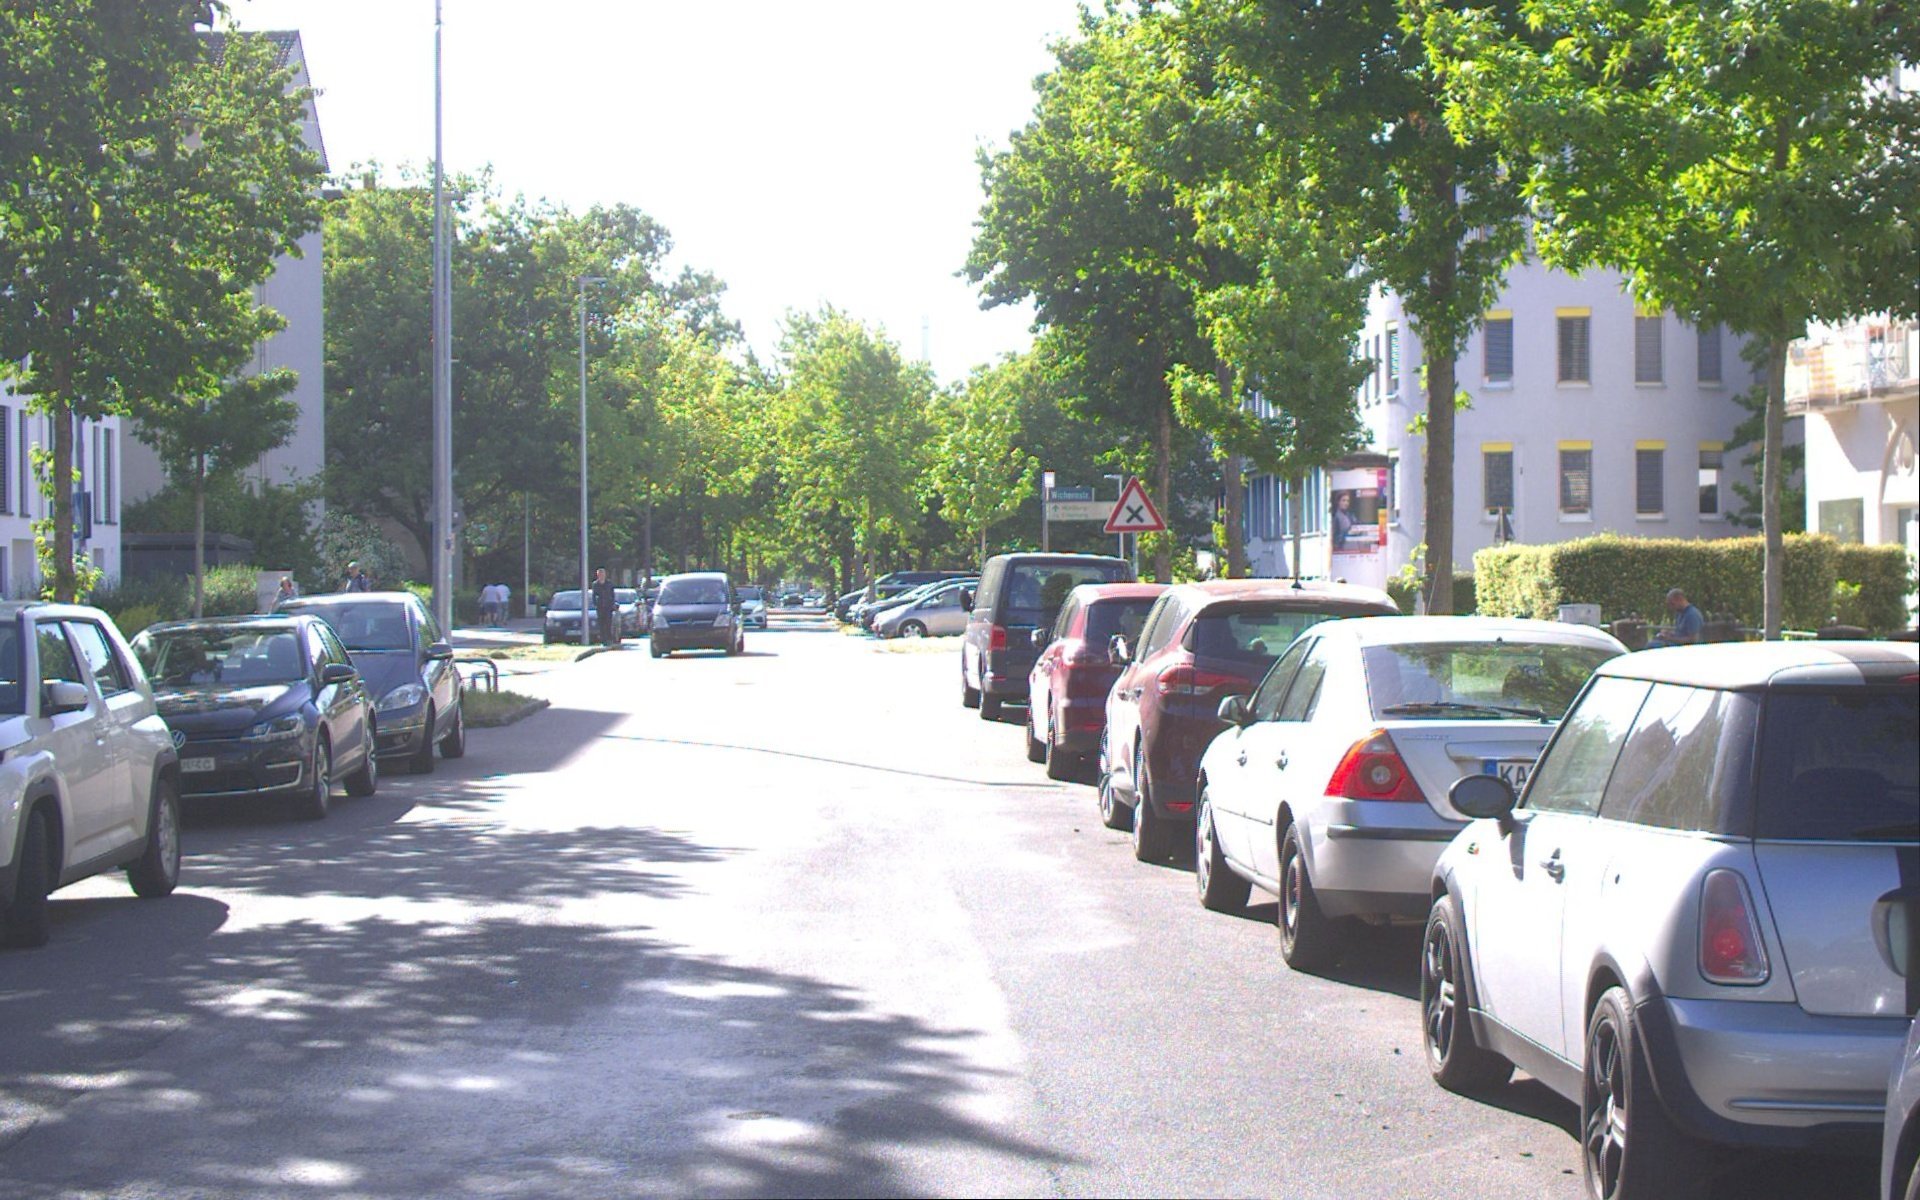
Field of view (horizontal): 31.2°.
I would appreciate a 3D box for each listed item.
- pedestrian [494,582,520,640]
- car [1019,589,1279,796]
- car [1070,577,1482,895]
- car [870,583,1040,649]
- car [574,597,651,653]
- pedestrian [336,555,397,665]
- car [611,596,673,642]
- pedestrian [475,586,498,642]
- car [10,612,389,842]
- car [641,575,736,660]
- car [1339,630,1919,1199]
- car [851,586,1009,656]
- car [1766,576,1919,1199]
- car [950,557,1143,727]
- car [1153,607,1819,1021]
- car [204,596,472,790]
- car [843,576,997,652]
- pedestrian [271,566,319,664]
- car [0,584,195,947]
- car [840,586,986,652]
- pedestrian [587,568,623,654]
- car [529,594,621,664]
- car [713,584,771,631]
[{"bbox_3d":[-15.819,0.386,120.086,0.859,2.007,0.981,0,0,-9],"label":"pedestrian"},{"bbox_3d":[1.551,0.735,29.613,1.834,1.595,4.158,2,0,-2],"label":"car"},{"bbox_3d":[1.836,0.754,21.365,1.907,1.693,4.314,3,0,-3],"label":"car"},{"bbox_3d":[-0.137,0.383,84.161,3.986,1.582,1.727,0,0,-6],"label":"car"},{"bbox_3d":[-10.141,0.721,100.665,1.993,1.580,4.000,0,0,-2],"label":"car"},{"bbox_3d":[-10.867,0.182,63.006,0.859,2.007,0.981,0,0,6],"label":"pedestrian"},{"bbox_3d":[-11.308,0.664,122.428,1.993,1.580,4.000,0,0,-2],"label":"car"},{"bbox_3d":[-16.005,0.478,116.260,0.761,1.894,0.819,0,0,-9],"label":"pedestrian"},{"bbox_3d":[-5.475,0.860,25.284,1.993,1.448,4.262,-2,0,-3],"label":"car"},{"bbox_3d":[-5.311,0.338,67.593,1.783,1.603,4.000,0,0,-3],"label":"car"},{"bbox_3d":[2.247,0.836,9.507,1.788,1.448,3.782,1,0,-3],"label":"car"},{"bbox_3d":[-0.799,0.537,89.361,3.986,1.799,1.890,0,0,-5],"label":"car"},{"bbox_3d":[2.579,0.750,4.809,1.692,1.535,4.441,1,0,-2],"label":"car"},{"bbox_3d":[0.988,0.482,41.830,1.970,1.942,4.986,0,0,-3],"label":"car"},{"bbox_3d":[2.116,0.820,15.277,1.897,1.469,4.700,3,-1,-4],"label":"car"},{"bbox_3d":[-5.586,0.792,31.355,1.839,1.589,4.262,-2,0,-3],"label":"car"},{"bbox_3d":[-1.084,0.370,92.182,3.986,2.007,2.000,0,0,-5],"label":"car"},{"bbox_3d":[-13.754,0.300,71.101,0.859,2.007,0.981,0,0,-4],"label":"pedestrian"},{"bbox_3d":[-4.942,0.735,16.540,1.710,1.539,3.930,-2,0,-2],"label":"car"},{"bbox_3d":[-1.337,0.514,96.674,3.986,1.824,2.000,0,0,-5],"label":"car"},{"bbox_3d":[-7.913,0.245,76.662,0.715,1.894,0.837,0,0,-12],"label":"pedestrian"},{"bbox_3d":[-9.531,0.702,85.388,1.993,1.665,4.000,0,0,-2],"label":"car"},{"bbox_3d":[-7.401,0.242,117.083,1.895,1.555,4.000,0,0,-3],"label":"car"}]
